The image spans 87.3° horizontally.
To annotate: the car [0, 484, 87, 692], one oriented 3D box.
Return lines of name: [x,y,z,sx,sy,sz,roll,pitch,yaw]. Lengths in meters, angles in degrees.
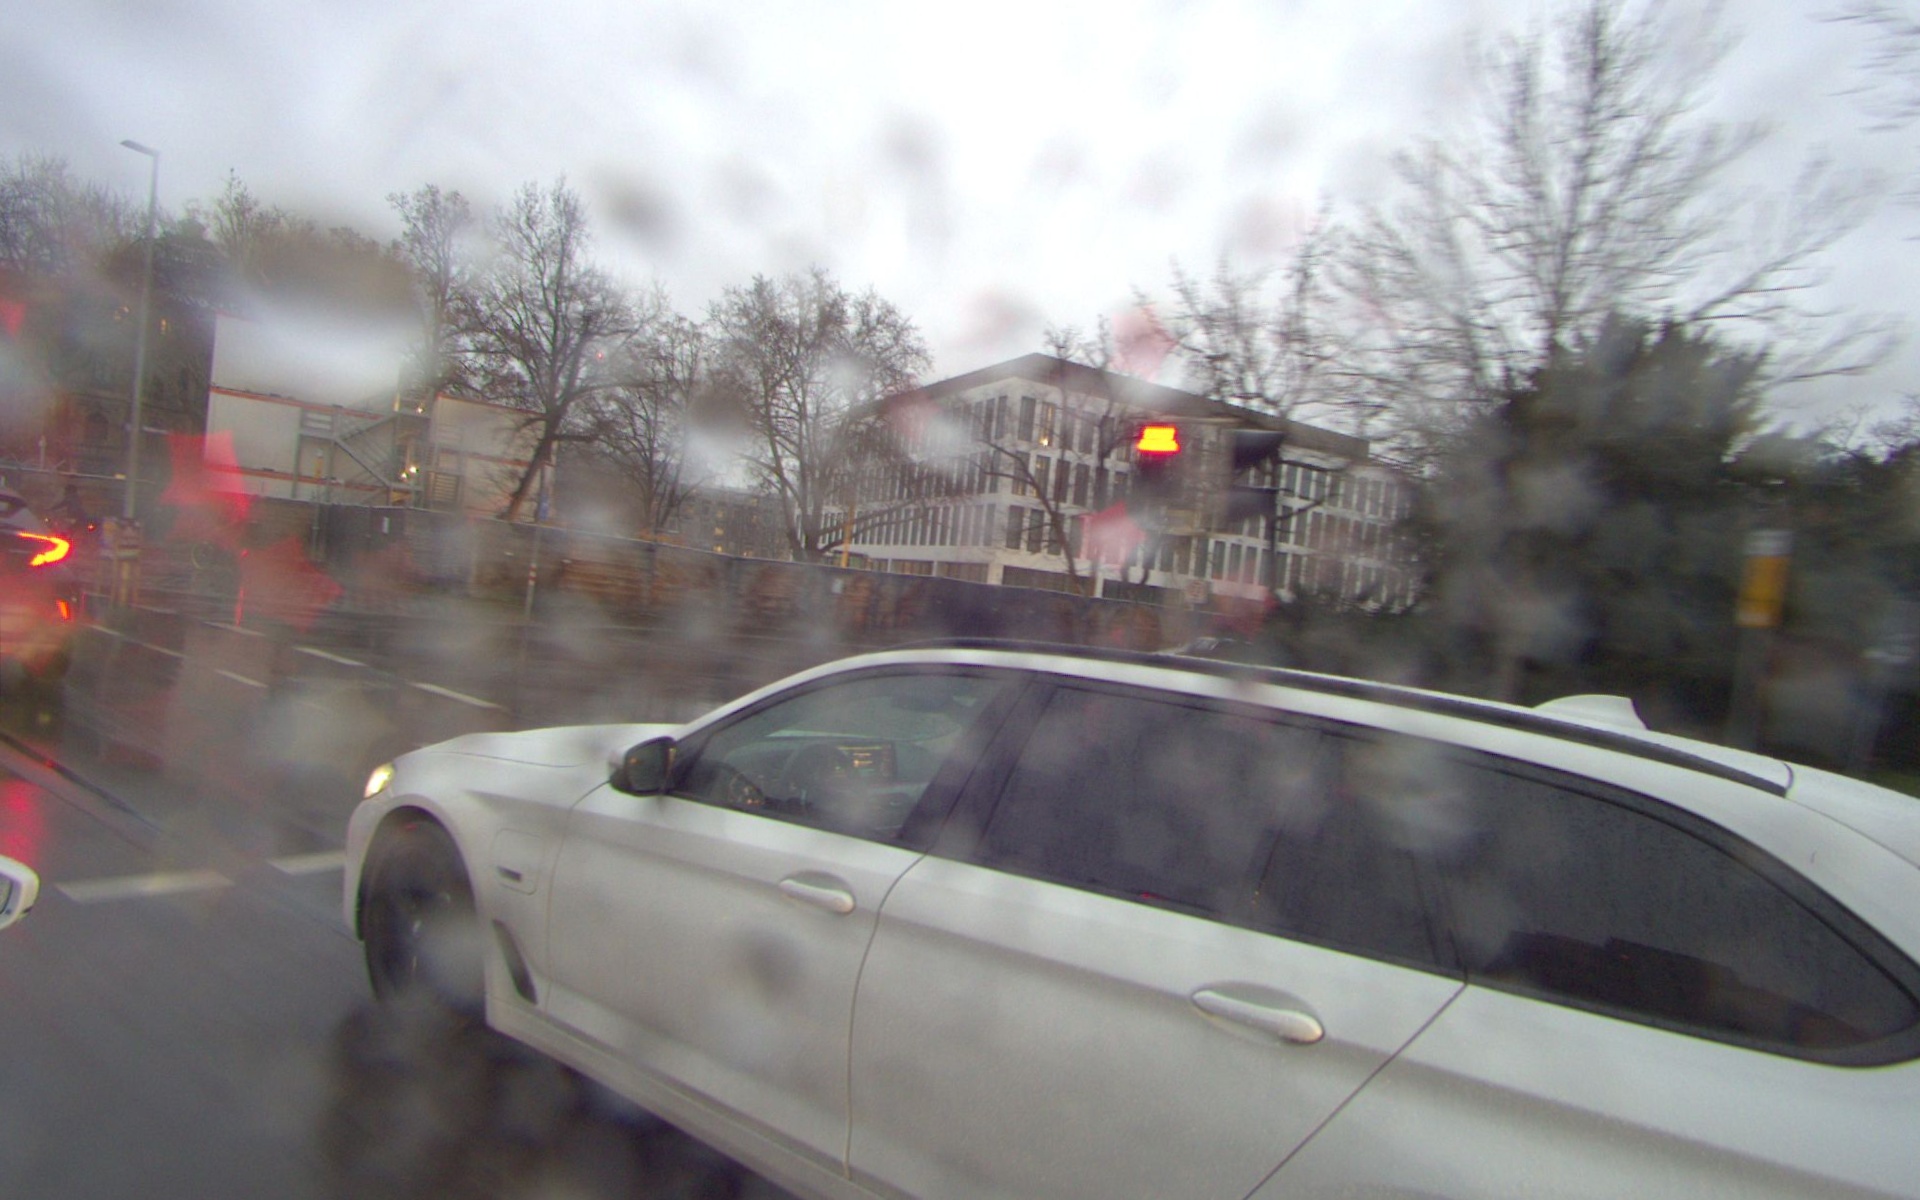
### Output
car: [-8.820,-0.284,8.127,3.938,1.496,1.723,6,-2,36]

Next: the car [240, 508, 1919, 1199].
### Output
car: [0.067,0.718,2.962,4.887,1.519,1.789,6,-2,33]

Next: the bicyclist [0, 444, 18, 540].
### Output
bicyclist: [-18.478,-2.089,19.121,0.823,1.790,0.500,7,2,29]

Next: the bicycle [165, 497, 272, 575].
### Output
bicycle: [-18.702,-1.614,25.378,2.204,1.676,0.691,7,-1,10]

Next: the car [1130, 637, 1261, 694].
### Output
car: [8.209,2.277,34.916,4.476,1.507,1.864,7,0,-36]

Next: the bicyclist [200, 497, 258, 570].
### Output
bicyclist: [-18.397,-1.660,25.312,0.802,1.700,0.697,6,1,11]
